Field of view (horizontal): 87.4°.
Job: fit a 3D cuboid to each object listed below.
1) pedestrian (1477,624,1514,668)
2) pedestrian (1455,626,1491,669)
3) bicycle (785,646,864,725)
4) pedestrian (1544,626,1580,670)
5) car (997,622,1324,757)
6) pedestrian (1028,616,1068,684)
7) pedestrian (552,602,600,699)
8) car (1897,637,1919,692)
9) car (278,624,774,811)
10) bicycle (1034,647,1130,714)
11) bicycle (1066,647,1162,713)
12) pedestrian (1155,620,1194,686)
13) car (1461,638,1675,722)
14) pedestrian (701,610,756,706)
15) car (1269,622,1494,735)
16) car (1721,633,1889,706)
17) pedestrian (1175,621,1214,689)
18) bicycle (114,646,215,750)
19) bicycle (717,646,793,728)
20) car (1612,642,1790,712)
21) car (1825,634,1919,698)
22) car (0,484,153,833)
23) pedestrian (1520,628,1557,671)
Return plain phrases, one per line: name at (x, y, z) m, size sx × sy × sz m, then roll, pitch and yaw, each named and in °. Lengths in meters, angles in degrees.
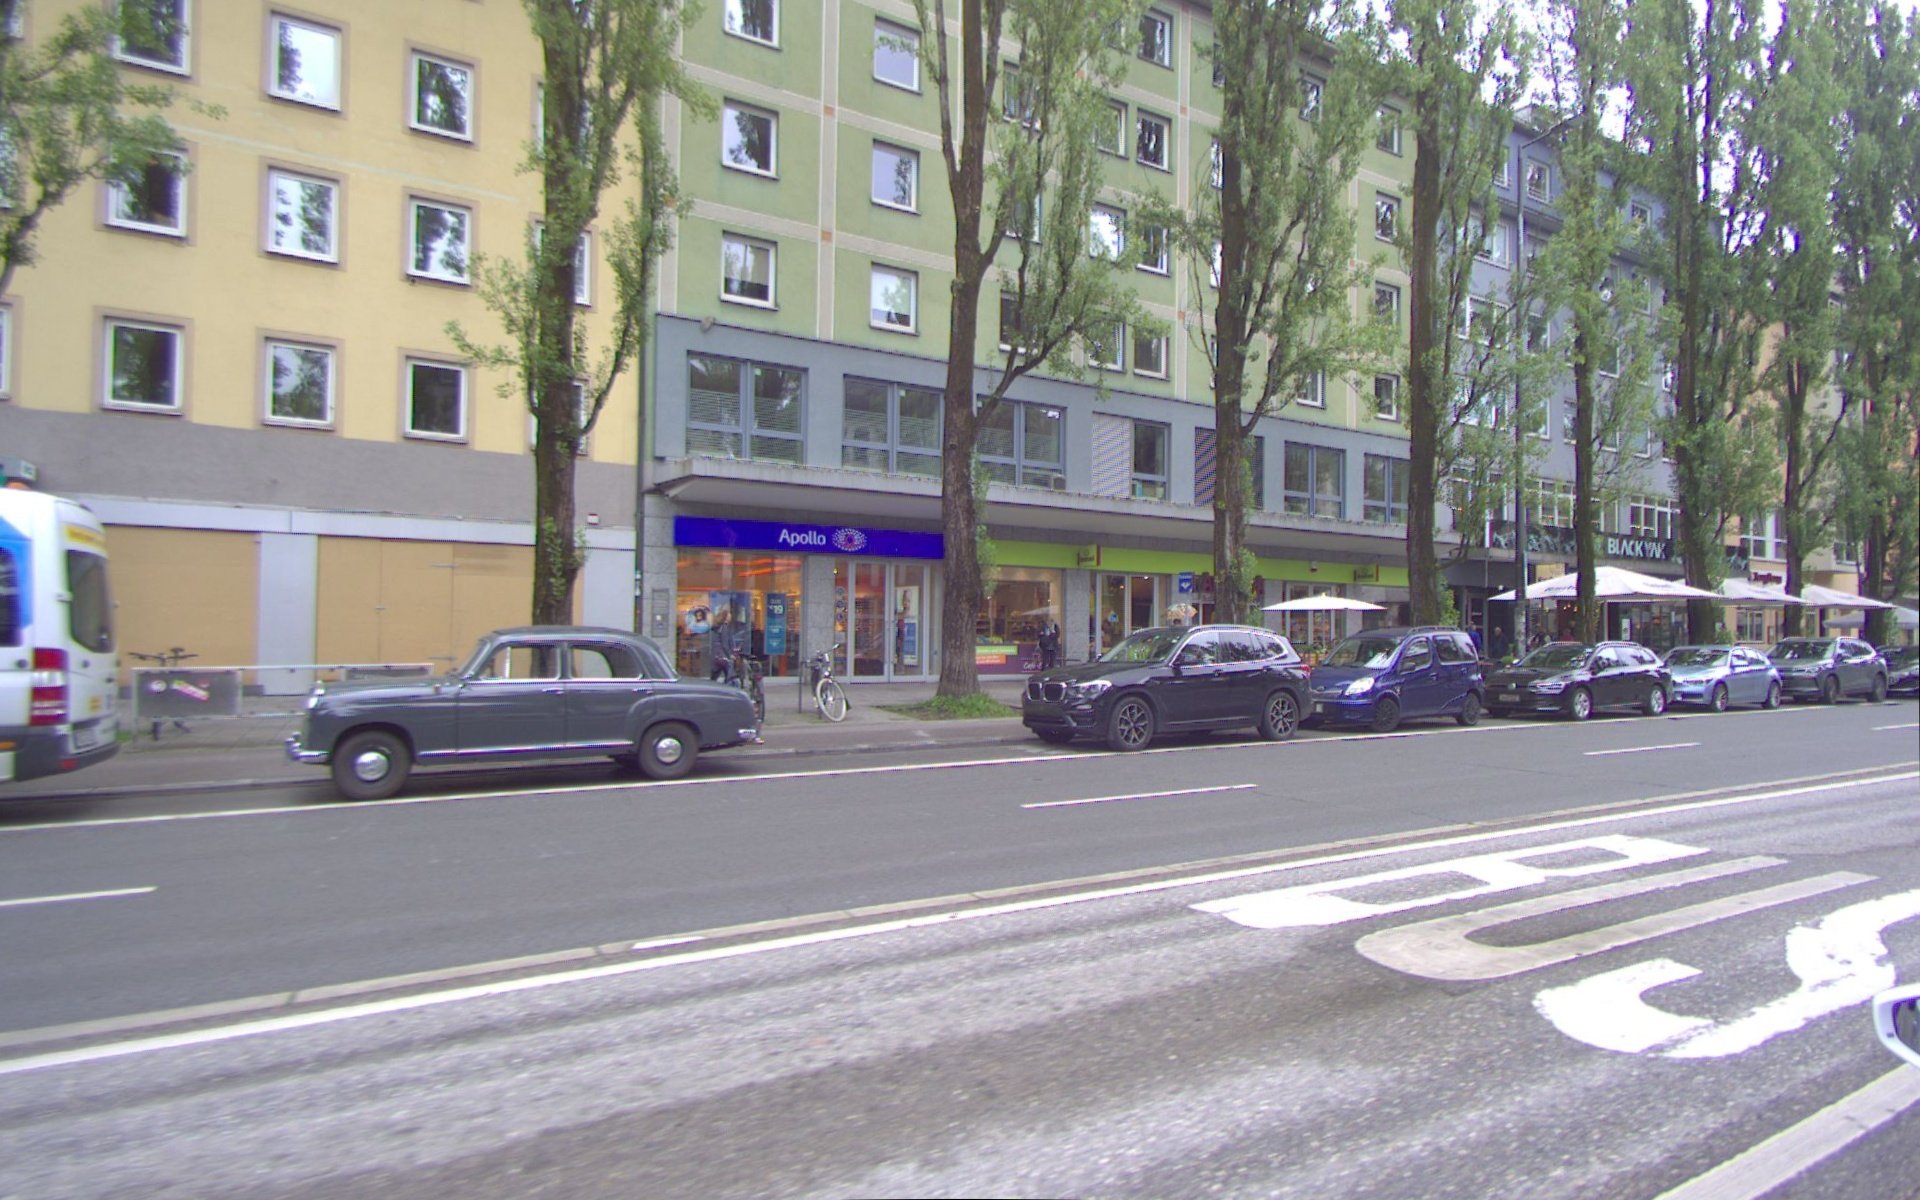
pedestrian at (17.696, 1.516, 33.201) m, size 0.792 × 1.428 × 0.760 m, roll 2°, pitch 0°, yaw -34°
pedestrian at (17.628, 1.631, 34.522) m, size 0.755 × 1.428 × 0.797 m, roll 2°, pitch 0°, yaw -18°
bicycle at (-2.272, 1.374, 16.628) m, size 0.710 × 1.110 × 1.862 m, roll 1°, pitch 1°, yaw -26°
pedestrian at (20.141, 1.599, 33.613) m, size 0.792 × 1.428 × 0.760 m, roll 2°, pitch 0°, yaw -34°
car at (2.943, 1.208, 14.490) m, size 4.557 × 1.686 × 1.858 m, roll 1°, pitch -3°, yaw -30°
pedestrian at (2.225, 1.268, 25.449) m, size 0.749 × 1.708 × 0.670 m, roll 2°, pitch -3°, yaw -29°
pedestrian at (-6.913, 0.906, 18.072) m, size 0.667 × 1.708 × 0.753 m, roll 2°, pitch -3°, yaw -29°
car at (31.072, 1.981, 31.117) m, size 4.072 × 1.687 × 1.858 m, roll 1°, pitch -3°, yaw -30°
car at (-4.315, 1.081, 10.395) m, size 4.362 × 1.572 × 1.858 m, roll 1°, pitch -3°, yaw -30°
bicycle at (2.343, 1.531, 19.445) m, size 0.712 × 1.110 × 1.933 m, roll 1°, pitch 1°, yaw -35°
bicycle at (3.020, 1.550, 19.915) m, size 0.712 × 1.110 × 1.933 m, roll 1°, pitch 1°, yaw -35°
pedestrian at (5.660, 1.398, 26.506) m, size 0.667 × 1.708 × 0.753 m, roll 2°, pitch -3°, yaw -28°
car at (12.065, 1.526, 19.881) m, size 4.299 × 1.508 × 1.790 m, roll 1°, pitch -3°, yaw -30°
pedestrian at (-4.249, 1.054, 18.413) m, size 0.775 × 1.708 × 0.753 m, roll 2°, pitch -3°, yaw -28°
car at (7.318, 1.306, 17.356) m, size 3.880 × 1.743 × 1.700 m, roll 2°, pitch -3°, yaw -33°
car at (21.331, 1.712, 25.326) m, size 4.349 × 1.687 × 1.858 m, roll 1°, pitch -3°, yaw -30°
pedestrian at (6.022, 1.403, 25.803) m, size 0.667 × 1.708 × 0.753 m, roll 2°, pitch -3°, yaw -28°
bicycle at (-10.044, 1.197, 12.740) m, size 0.614 × 1.110 × 1.862 m, roll 1°, pitch 1°, yaw -26°
bicycle at (-3.293, 1.350, 15.989) m, size 0.710 × 1.110 × 1.862 m, roll 1°, pitch 1°, yaw -26°
car at (16.672, 1.680, 22.559) m, size 4.095 × 1.444 × 1.725 m, roll 1°, pitch -3°, yaw -30°
car at (26.536, 1.831, 28.437) m, size 4.072 × 1.687 × 1.858 m, roll 1°, pitch -3°, yaw -30°
car at (-10.136, 0.414, 6.915) m, size 6.831 × 2.601 × 1.996 m, roll 1°, pitch -3°, yaw -30°
pedestrian at (20.200, 1.720, 35.064) m, size 0.756 × 1.428 × 0.797 m, roll 2°, pitch 0°, yaw -18°
